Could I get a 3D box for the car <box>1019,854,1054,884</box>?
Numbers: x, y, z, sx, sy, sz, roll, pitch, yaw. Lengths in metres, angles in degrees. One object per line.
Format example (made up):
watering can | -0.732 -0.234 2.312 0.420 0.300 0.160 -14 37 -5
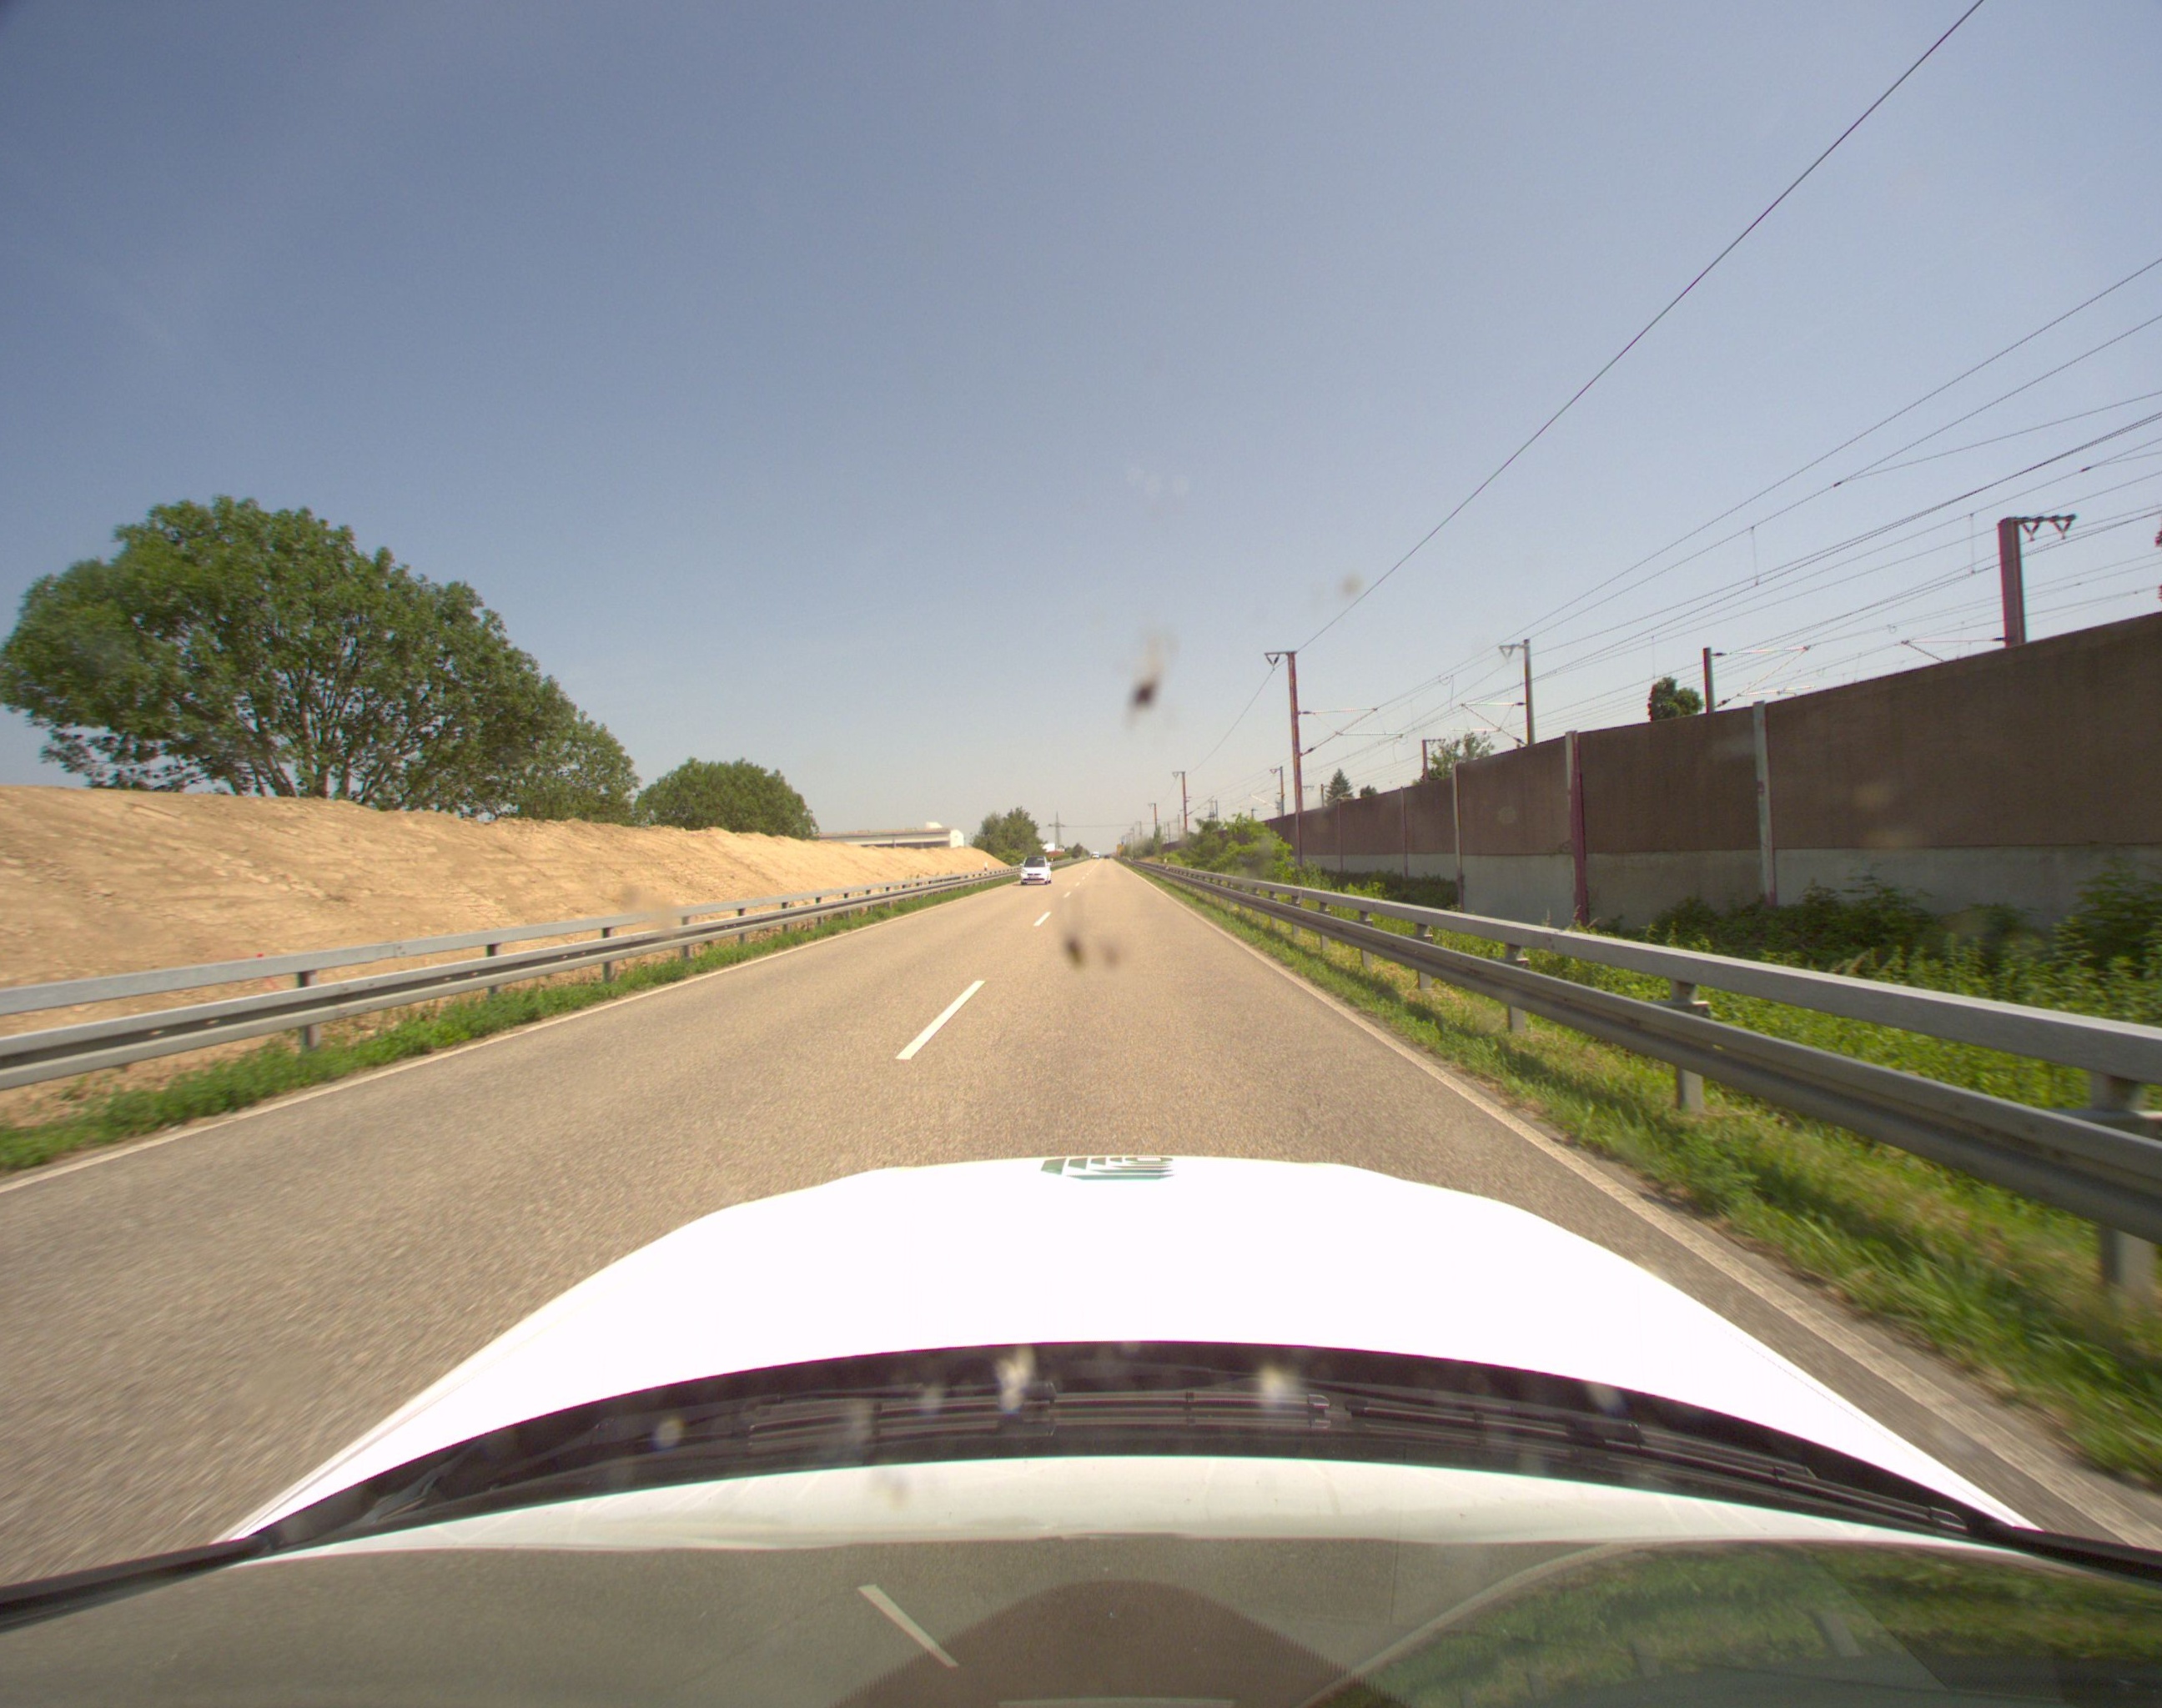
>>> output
car | -2.431 0.794 45.264 1.590 1.576 3.829 -1 0 1
